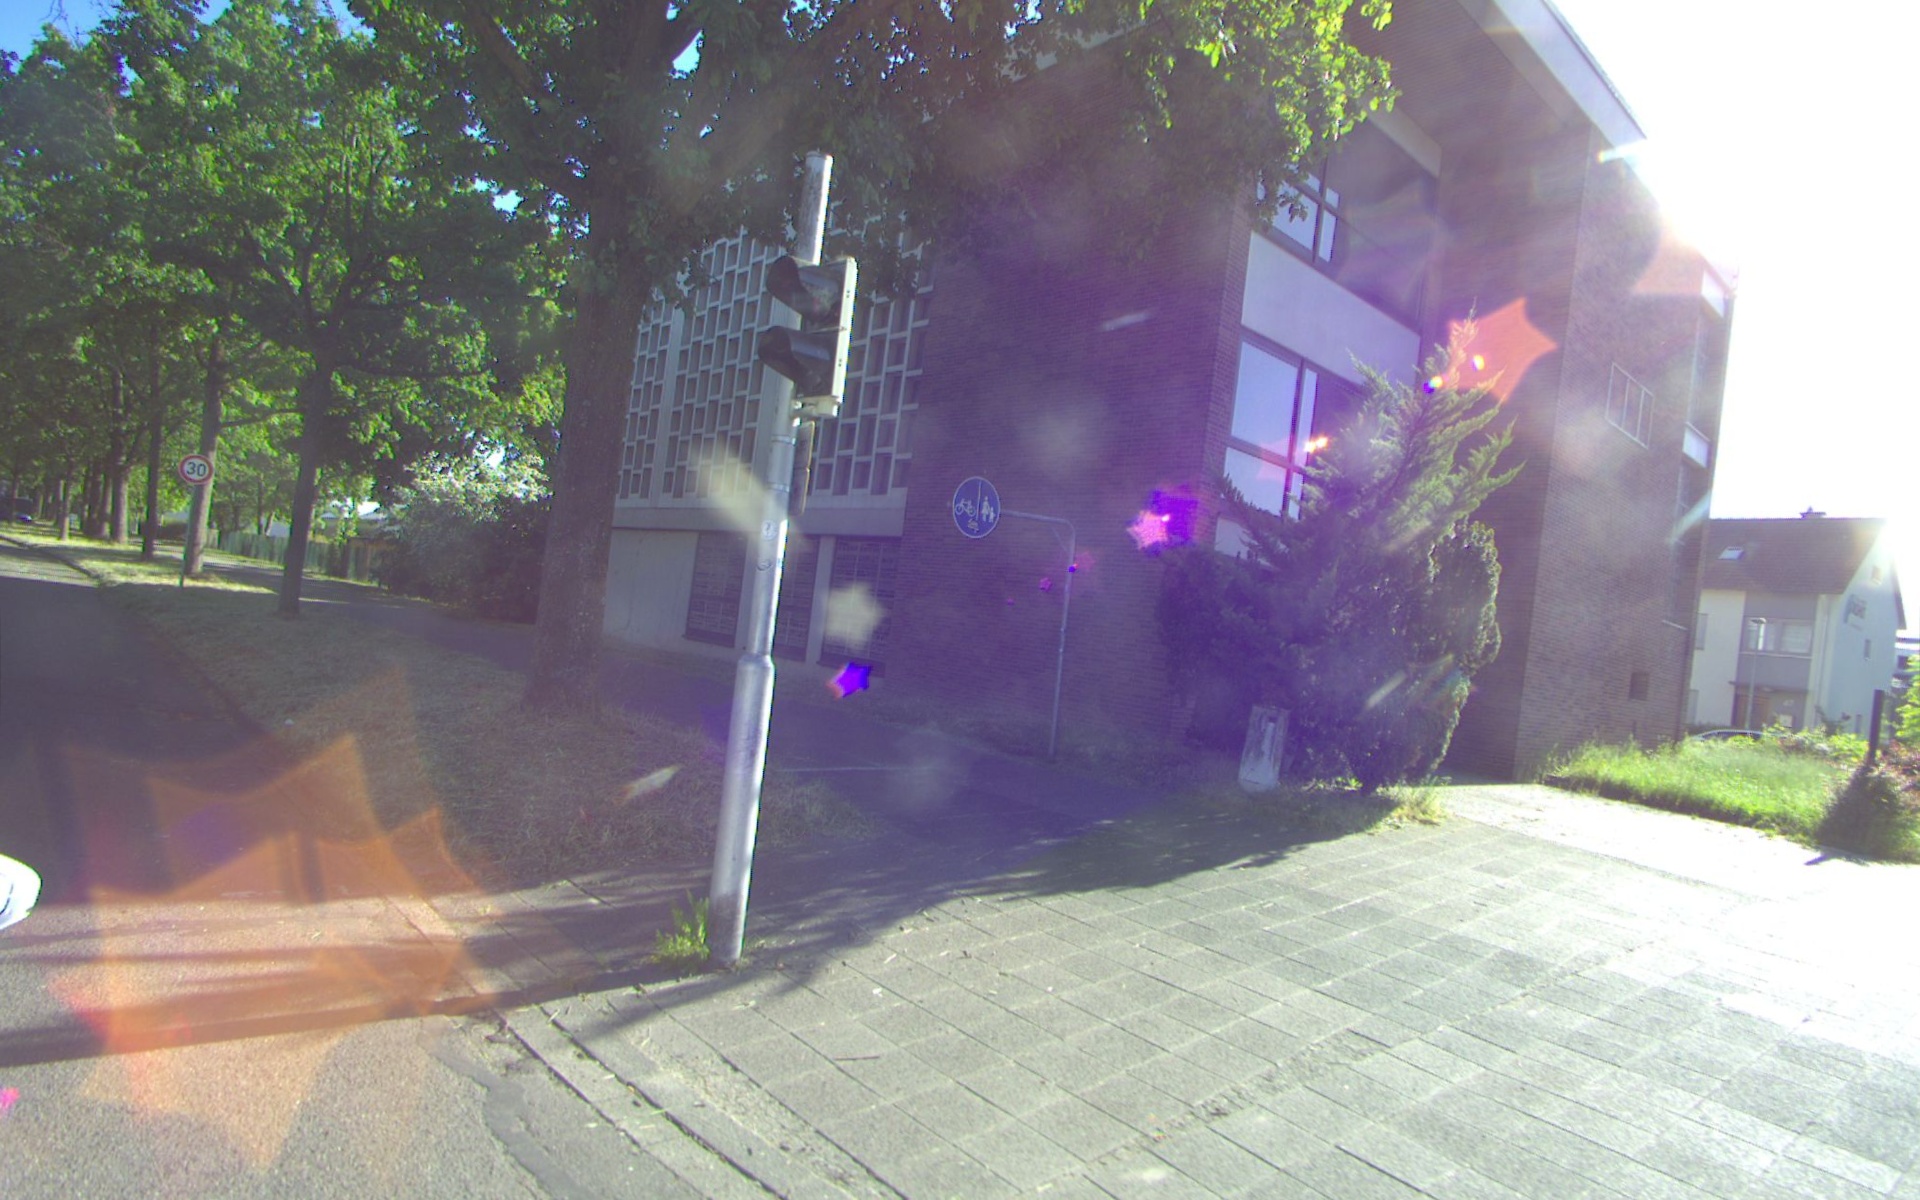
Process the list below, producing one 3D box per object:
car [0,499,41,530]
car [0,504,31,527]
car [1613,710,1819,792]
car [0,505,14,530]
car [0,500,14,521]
[{"bbox_3d":[-72.797,-6.617,76.185,1.666,1.975,4.494,4,-3,43],"label":"car"},{"bbox_3d":[-70.904,-6.361,73.994,1.300,1.414,3.646,4,-3,43],"label":"car"},{"bbox_3d":[20.837,4.133,27.865,1.793,1.519,4.164,9,-3,-39],"label":"car"},{"bbox_3d":[-75.276,-6.563,77.229,1.300,1.818,3.646,4,-3,43],"label":"car"},{"bbox_3d":[-106.780,-10.016,110.784,1.613,2.073,3.561,1,-5,43],"label":"car"}]
